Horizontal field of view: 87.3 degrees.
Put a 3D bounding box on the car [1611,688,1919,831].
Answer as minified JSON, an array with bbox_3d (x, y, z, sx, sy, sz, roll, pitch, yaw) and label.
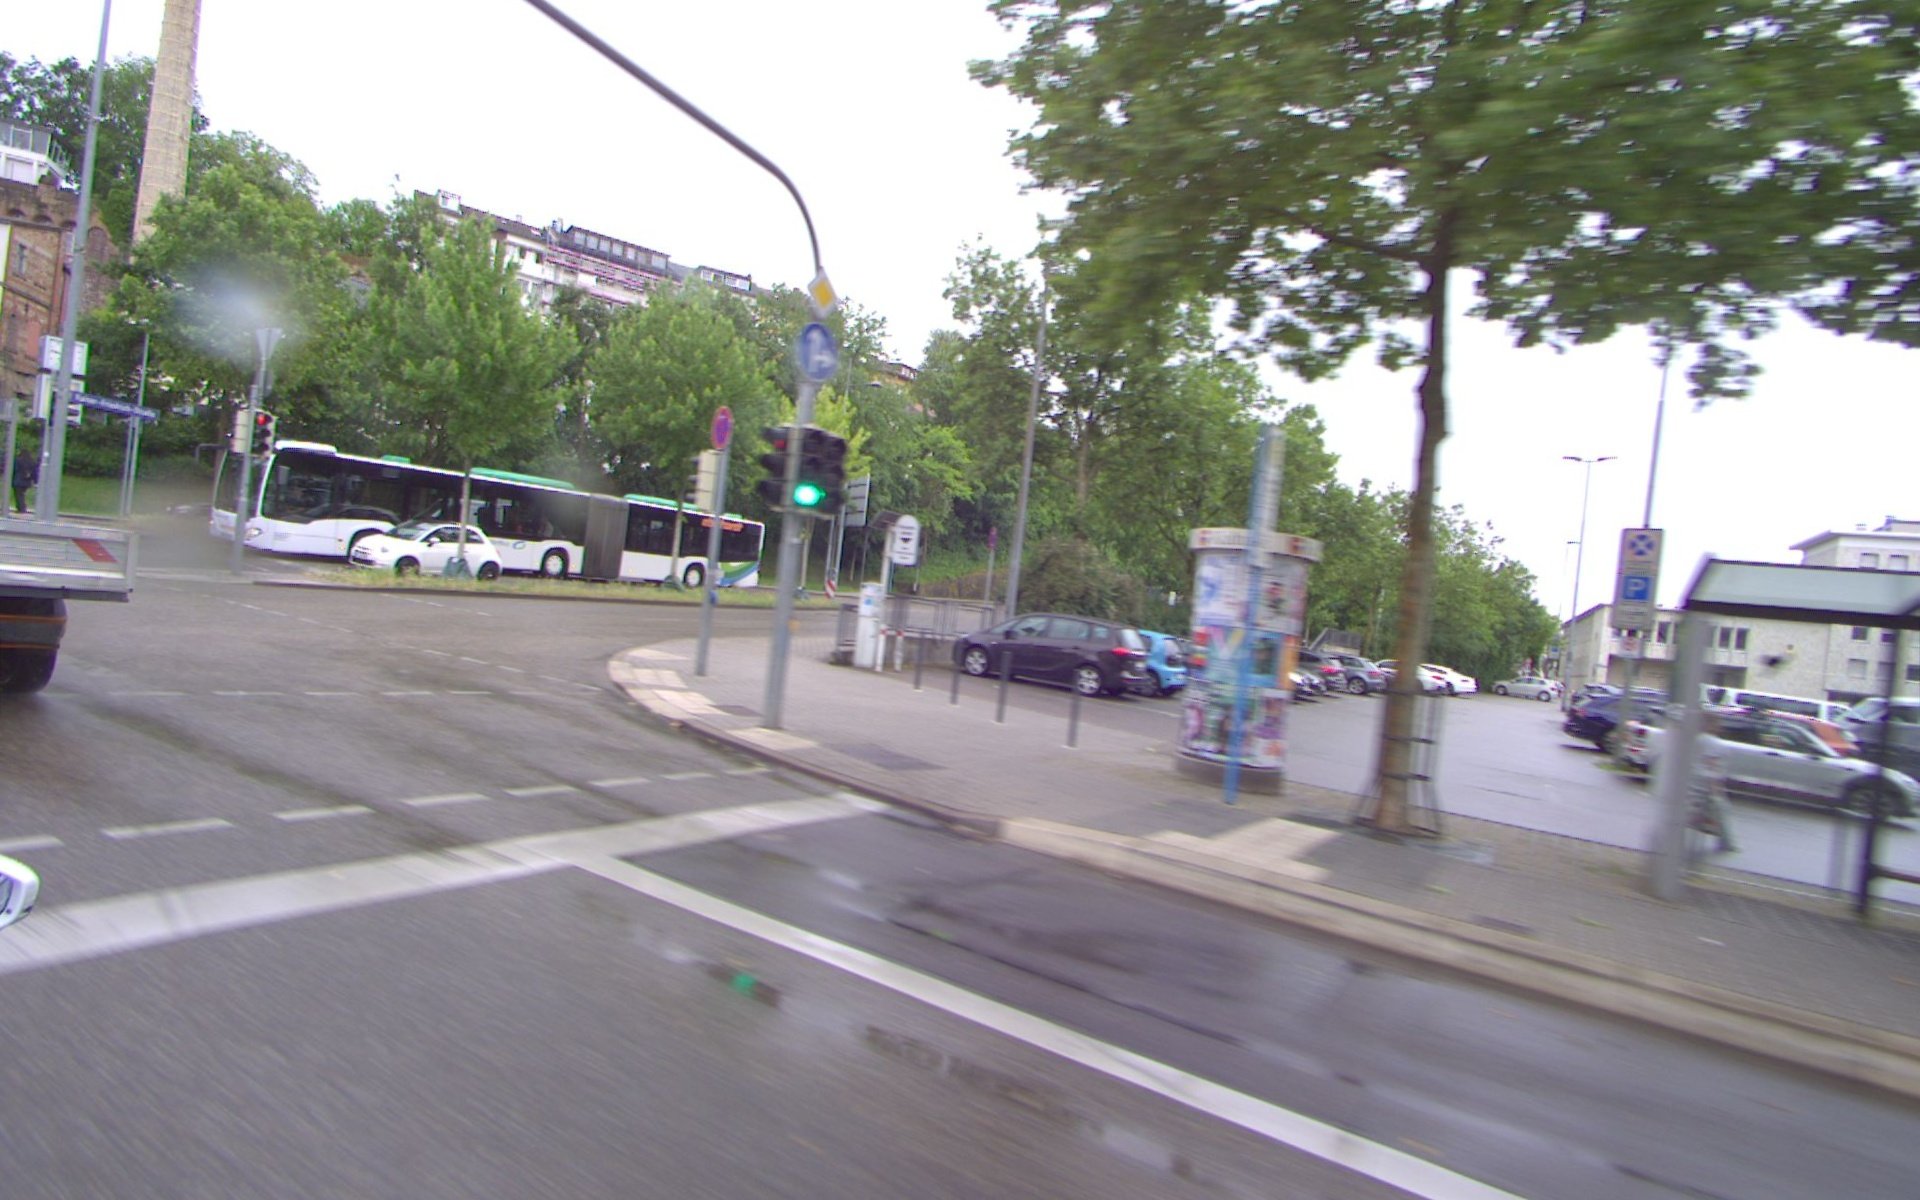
[{"bbox_3d":[14.260,2.735,17.981,4.104,1.611,1.760,8,1,28],"label":"car"}]

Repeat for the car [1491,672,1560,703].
[{"bbox_3d":[37.773,5.836,67.238,3.758,1.439,1.696,7,0,36],"label":"car"}]

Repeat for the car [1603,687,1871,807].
[{"bbox_3d":[15.709,2.915,20.636,3.931,1.611,1.760,8,1,28],"label":"car"}]

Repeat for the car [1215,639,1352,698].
[{"bbox_3d":[11.320,2.380,35.237,4.189,1.415,1.854,7,0,29],"label":"car"}]

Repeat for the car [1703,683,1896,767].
[{"bbox_3d":[26.993,3.964,32.571,4.287,1.854,1.832,8,1,27],"label":"car"}]

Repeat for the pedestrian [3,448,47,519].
[{"bbox_3d":[-24.502,-3.046,26.356,0.518,1.728,0.558,7,3,11],"label":"pedestrian"}]

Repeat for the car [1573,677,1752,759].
[{"bbox_3d":[19.986,3.314,28.827,3.934,1.586,1.758,8,1,33],"label":"car"}]

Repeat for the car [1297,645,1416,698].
[{"bbox_3d":[16.872,3.043,42.918,4.200,1.631,1.849,7,0,39],"label":"car"}]

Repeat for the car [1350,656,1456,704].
[{"bbox_3d":[21.366,3.856,48.623,4.200,1.697,1.849,7,0,39],"label":"car"}]

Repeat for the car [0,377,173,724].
[{"bbox_3d":[-8.357,-0.550,7.310,5.447,2.114,2.106,6,-2,30],"label":"car"}]

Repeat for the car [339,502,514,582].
[{"bbox_3d":[-13.575,-1.444,25.795,1.563,1.469,3.564,9,0,29],"label":"car"}]

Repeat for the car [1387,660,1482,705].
[{"bbox_3d":[24.370,4.231,51.749,3.958,1.697,1.849,7,0,39],"label":"car"}]

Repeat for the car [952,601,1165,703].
[{"bbox_3d":[2.150,1.114,22.296,4.188,1.633,1.803,7,0,28],"label":"car"}]

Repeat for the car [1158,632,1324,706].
[{"bbox_3d":[8.110,1.968,29.109,4.189,1.498,1.854,7,0,29],"label":"car"}]

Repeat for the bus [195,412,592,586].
[{"bbox_3d":[-15.481,-2.567,28.715,2.659,3.256,9.644,9,0,30],"label":"bus"}]

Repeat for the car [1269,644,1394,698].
[{"bbox_3d":[14.334,2.726,38.808,4.189,1.458,1.854,7,0,29],"label":"car"}]

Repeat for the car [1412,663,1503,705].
[{"bbox_3d":[27.013,4.560,54.672,3.958,1.697,1.849,7,0,39],"label":"car"}]

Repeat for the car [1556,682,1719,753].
[{"bbox_3d":[20.914,3.590,31.237,3.934,1.463,1.657,8,1,33],"label":"car"}]

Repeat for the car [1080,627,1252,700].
[{"bbox_3d":[5.657,1.723,27.759,4.189,1.371,1.854,7,0,29],"label":"car"}]

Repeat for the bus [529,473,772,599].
[{"bbox_3d":[-10.896,-2.140,36.534,2.643,3.219,8.544,9,0,31],"label":"bus"}]

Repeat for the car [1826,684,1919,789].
[{"bbox_3d":[25.319,3.690,25.160,4.923,2.349,1.971,8,2,26],"label":"car"}]

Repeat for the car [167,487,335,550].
[{"bbox_3d":[-22.062,-2.525,31.370,4.066,1.391,1.774,6,1,-42],"label":"car"}]

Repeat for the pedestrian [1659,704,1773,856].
[{"bbox_3d":[9.251,2.172,12.354,0.847,1.653,0.766,8,1,31],"label":"pedestrian"}]

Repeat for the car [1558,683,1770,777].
[{"bbox_3d":[16.941,3.081,24.444,3.934,1.467,1.758,8,1,33],"label":"car"}]

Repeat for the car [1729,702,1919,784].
[{"bbox_3d":[20.784,3.381,23.973,3.570,1.252,1.530,8,1,28],"label":"car"}]

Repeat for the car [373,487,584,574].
[{"bbox_3d":[-17.080,-2.430,35.960,6.296,2.263,2.229,6,1,-42],"label":"car"}]

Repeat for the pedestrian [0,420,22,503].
[{"bbox_3d":[-24.585,-3.557,25.614,0.777,2.040,0.585,6,3,-23],"label":"pedestrian"}]

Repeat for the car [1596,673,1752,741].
[{"bbox_3d":[36.263,5.372,51.368,5.936,2.390,2.229,8,2,26],"label":"car"}]

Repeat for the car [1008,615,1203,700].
[{"bbox_3d":[3.521,1.373,24.516,4.189,1.458,1.854,7,0,29],"label":"car"}]
